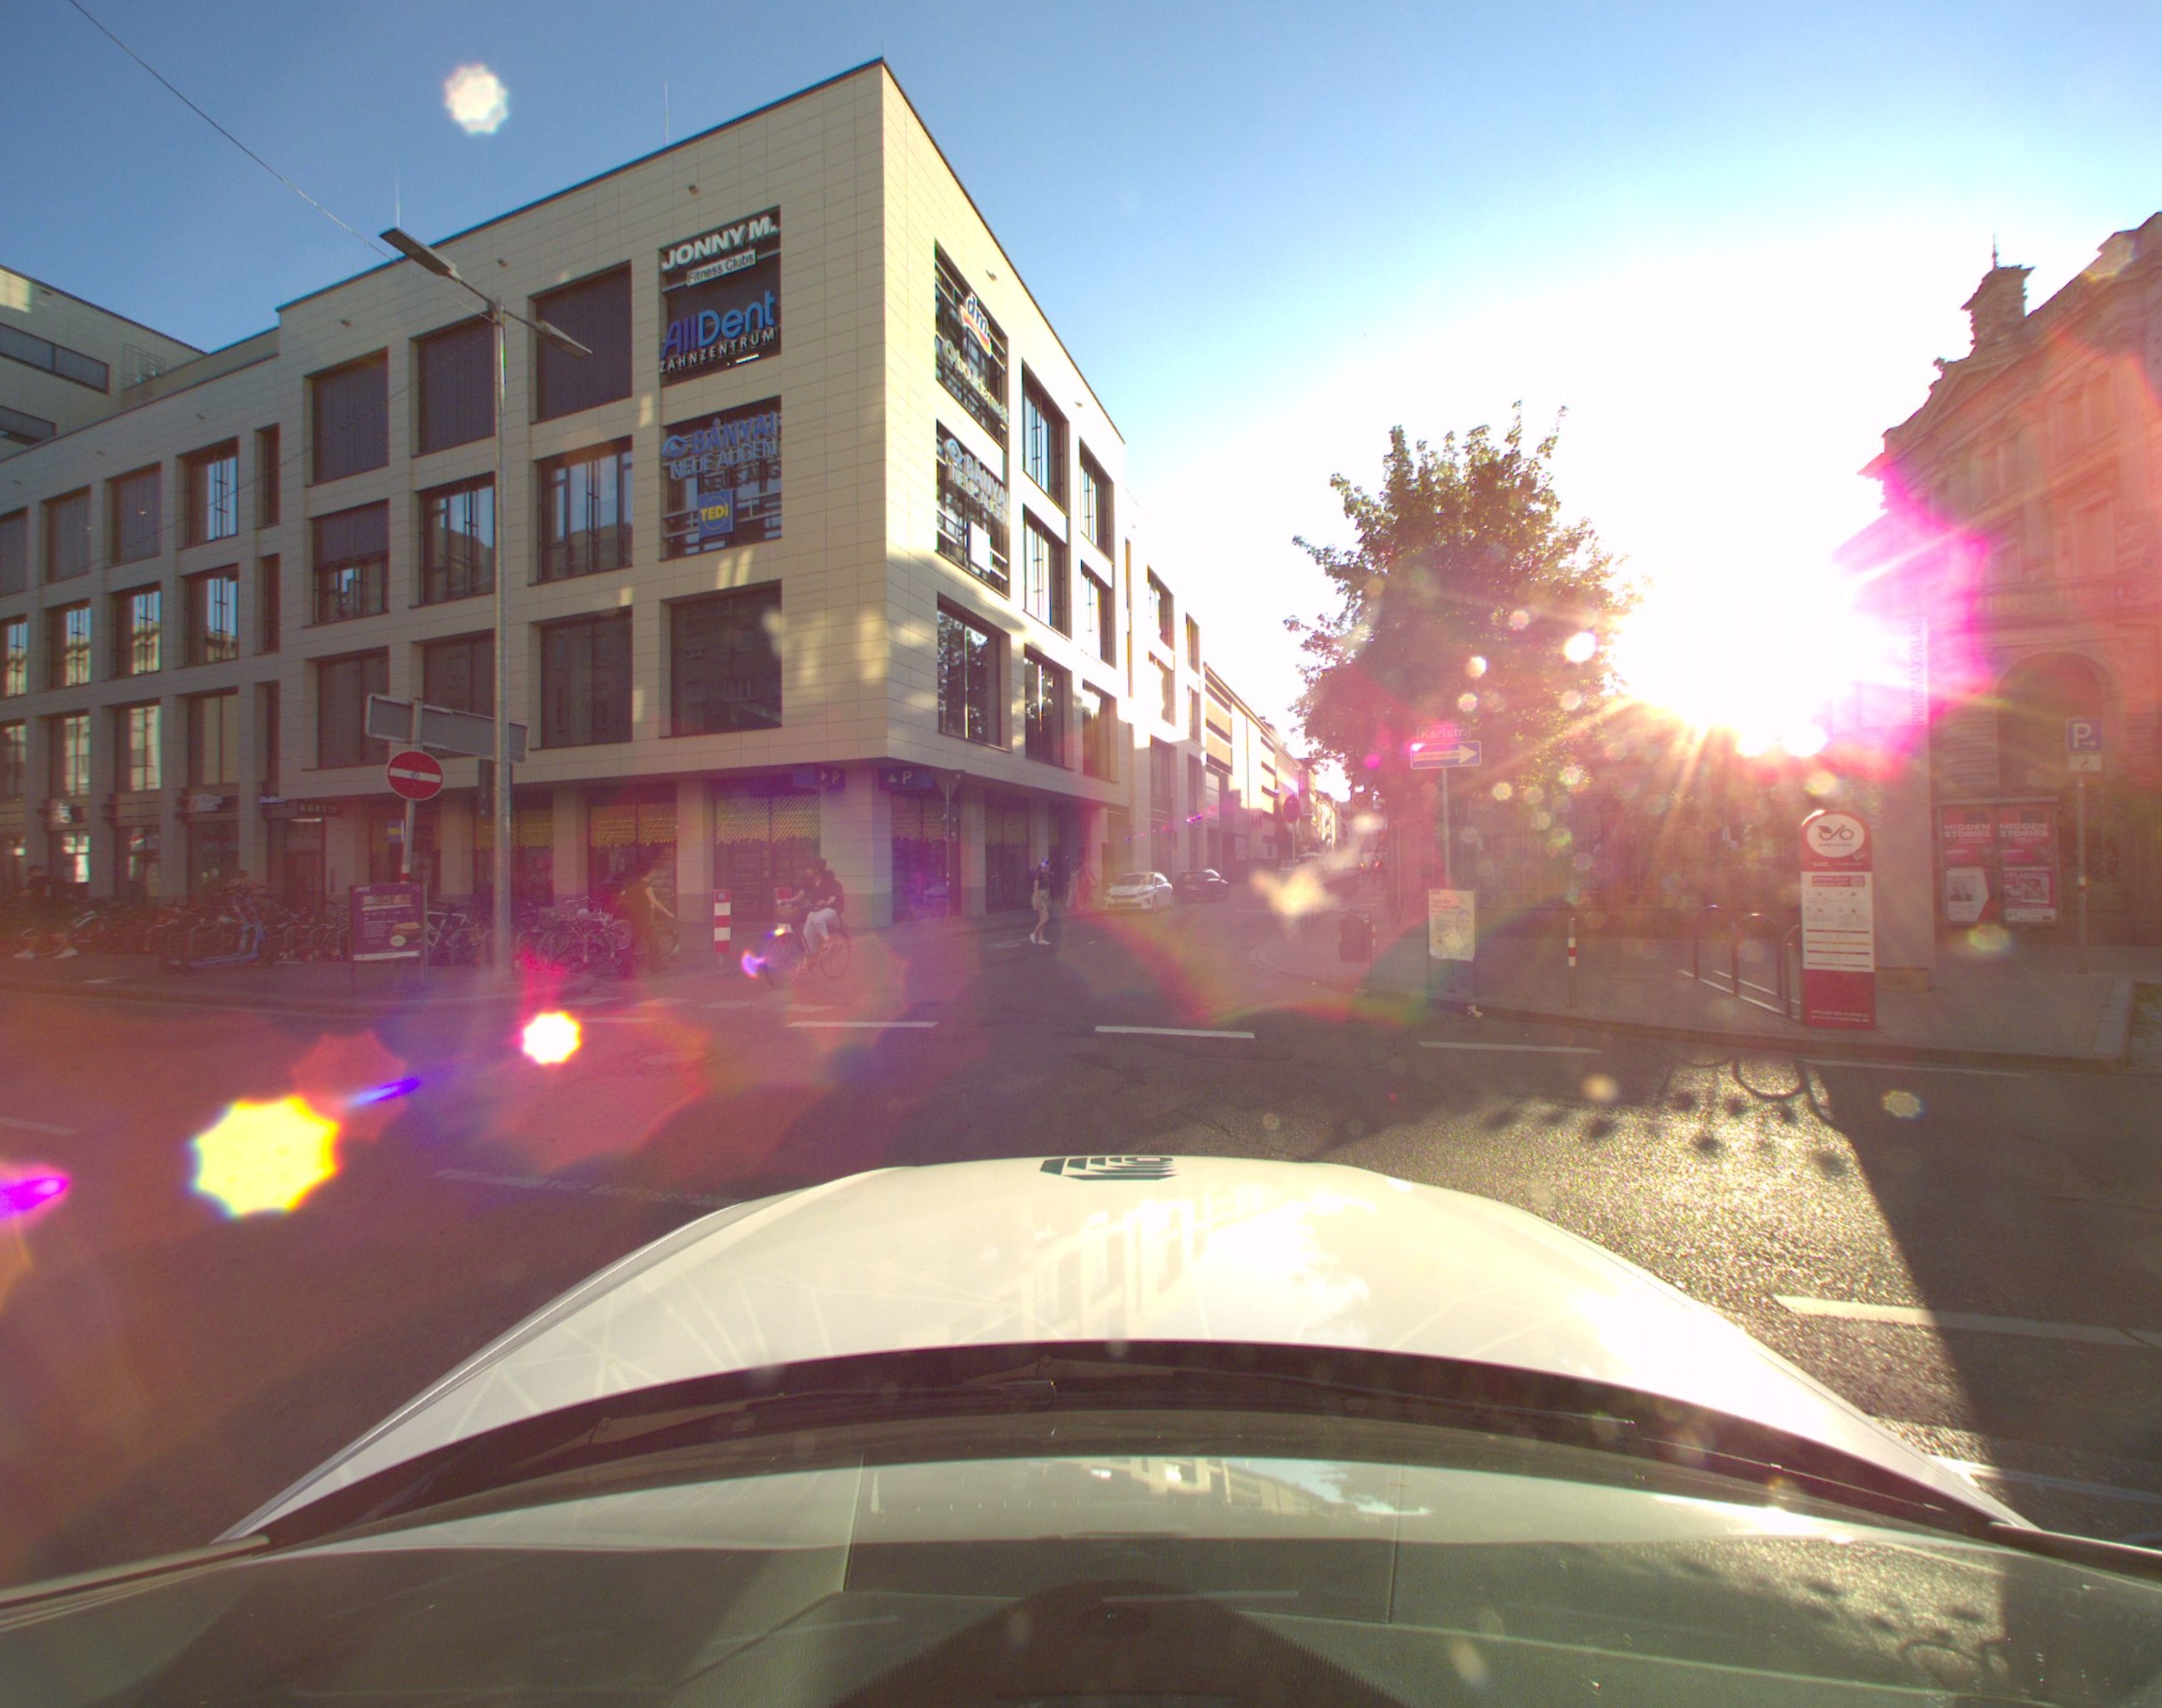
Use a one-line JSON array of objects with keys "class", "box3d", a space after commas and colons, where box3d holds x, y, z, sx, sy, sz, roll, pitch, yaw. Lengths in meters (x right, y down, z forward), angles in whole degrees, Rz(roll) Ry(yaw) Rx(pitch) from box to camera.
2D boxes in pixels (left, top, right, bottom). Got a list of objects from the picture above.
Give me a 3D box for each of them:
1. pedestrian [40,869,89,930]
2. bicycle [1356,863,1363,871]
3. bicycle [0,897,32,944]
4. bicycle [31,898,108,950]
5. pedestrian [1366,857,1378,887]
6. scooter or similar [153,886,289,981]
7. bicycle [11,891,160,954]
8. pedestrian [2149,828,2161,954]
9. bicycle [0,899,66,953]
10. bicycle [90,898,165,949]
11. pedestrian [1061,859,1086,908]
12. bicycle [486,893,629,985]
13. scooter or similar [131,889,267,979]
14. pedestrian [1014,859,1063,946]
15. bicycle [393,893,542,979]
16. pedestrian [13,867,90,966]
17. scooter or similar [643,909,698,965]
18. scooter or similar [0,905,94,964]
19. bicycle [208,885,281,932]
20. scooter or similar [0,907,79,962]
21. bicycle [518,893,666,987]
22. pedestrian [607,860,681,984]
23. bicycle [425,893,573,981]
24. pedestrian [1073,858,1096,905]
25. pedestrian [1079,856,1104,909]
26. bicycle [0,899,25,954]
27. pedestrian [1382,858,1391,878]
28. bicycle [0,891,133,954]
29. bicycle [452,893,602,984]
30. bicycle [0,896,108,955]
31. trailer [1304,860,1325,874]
[{"class": "pedestrian", "box3d": [-28.810, 1.272, 23.084, 0.637, 1.695, 0.688, -1, -1, 19]}, {"class": "bicycle", "box3d": [46.035, 2.225, 134.557, 0.967, 1.280, 2.768, -1, -1, 21]}, {"class": "bicycle", "box3d": [-30.552, 1.857, 22.957, 1.957, 1.255, 0.516, -1, -2, 18]}, {"class": "bicycle", "box3d": [-25.499, 1.743, 20.531, 1.957, 1.255, 0.516, -1, -2, 18]}, {"class": "pedestrian", "box3d": [16.193, 0.987, 45.274, 0.480, 1.658, 0.621, -3, -1, 14]}, {"class": "scooter or similar", "box3d": [-12.318, 1.106, 11.705, 0.383, 1.260, 1.277, -1, -2, 19]}, {"class": "bicycle", "box3d": [-21.830, 1.473, 17.925, 0.507, 1.255, 1.988, -1, -1, 19]}, {"class": "pedestrian", "box3d": [14.623, 0.489, 10.555, 0.699, 1.670, 0.643, -1, 0, 7]}, {"class": "bicycle", "box3d": [-25.749, 1.737, 19.875, 1.957, 1.255, 0.516, -1, -2, 18]}, {"class": "bicycle", "box3d": [-24.846, 1.791, 21.223, 1.957, 1.255, 0.516, -1, -2, 18]}, {"class": "pedestrian", "box3d": [-0.265, 1.025, 28.594, 0.666, 1.675, 0.650, -1, -1, 18]}, {"class": "bicycle", "box3d": [-7.993, 1.255, 12.562, 0.508, 1.255, 1.987, -1, -1, 17]}, {"class": "scooter or similar", "box3d": [-12.859, 1.128, 11.911, 0.383, 1.212, 1.277, -1, -2, 19]}, {"class": "pedestrian", "box3d": [-0.863, 0.962, 16.598, 0.640, 1.723, 0.836, 0, -1, -35]}, {"class": "bicycle", "box3d": [-9.985, 1.287, 13.359, 0.507, 1.255, 1.988, -1, -1, 18]}, {"class": "pedestrian", "box3d": [-18.251, 1.087, 14.445, 0.636, 1.695, 0.688, -1, -1, 23]}, {"class": "scooter or similar", "box3d": [-6.948, 1.389, 13.798, 0.383, 0.884, 0.774, -1, -2, 19]}, {"class": "scooter or similar", "box3d": [-18.932, 1.441, 14.746, 0.383, 0.992, 1.277, -1, -2, 19]}, {"class": "bicycle", "box3d": [-23.220, 1.500, 22.606, 1.956, 1.255, 0.615, -1, -2, 19]}, {"class": "scooter or similar", "box3d": [-19.546, 1.481, 15.017, 0.383, 0.942, 1.277, -1, -2, 19]}, {"class": "bicycle", "box3d": [-7.375, 1.247, 12.416, 0.576, 1.255, 2.053, -1, -1, 17]}, {"class": "pedestrian", "box3d": [-6.116, 0.922, 11.437, 0.873, 1.658, 0.614, 0, -1, -24]}, {"class": "bicycle", "box3d": [-9.259, 1.275, 13.075, 0.507, 1.255, 1.988, -1, -1, 19]}, {"class": "pedestrian", "box3d": [0.136, 1.038, 30.778, 0.666, 1.744, 0.650, -1, -1, 21]}, {"class": "pedestrian", "box3d": [0.358, 0.978, 28.259, 0.666, 1.836, 0.650, -1, -1, 18]}, {"class": "bicycle", "box3d": [-25.935, 1.700, 19.257, 1.957, 1.255, 0.516, -1, -2, 18]}, {"class": "pedestrian", "box3d": [26.188, 1.181, 69.818, 0.656, 1.666, 0.627, -3, -2, 21]}, {"class": "bicycle", "box3d": [-22.553, 1.480, 18.020, 0.507, 1.255, 1.988, -1, -1, 19]}, {"class": "bicycle", "box3d": [-8.583, 1.263, 12.744, 0.507, 1.255, 1.989, -1, -2, 21]}, {"class": "bicycle", "box3d": [-24.015, 1.630, 18.745, 0.507, 1.255, 1.988, -1, -1, 19]}, {"class": "trailer", "box3d": [26.526, 1.507, 92.402, 1.977, 1.557, 4.019, -1, -1, 19]}]
